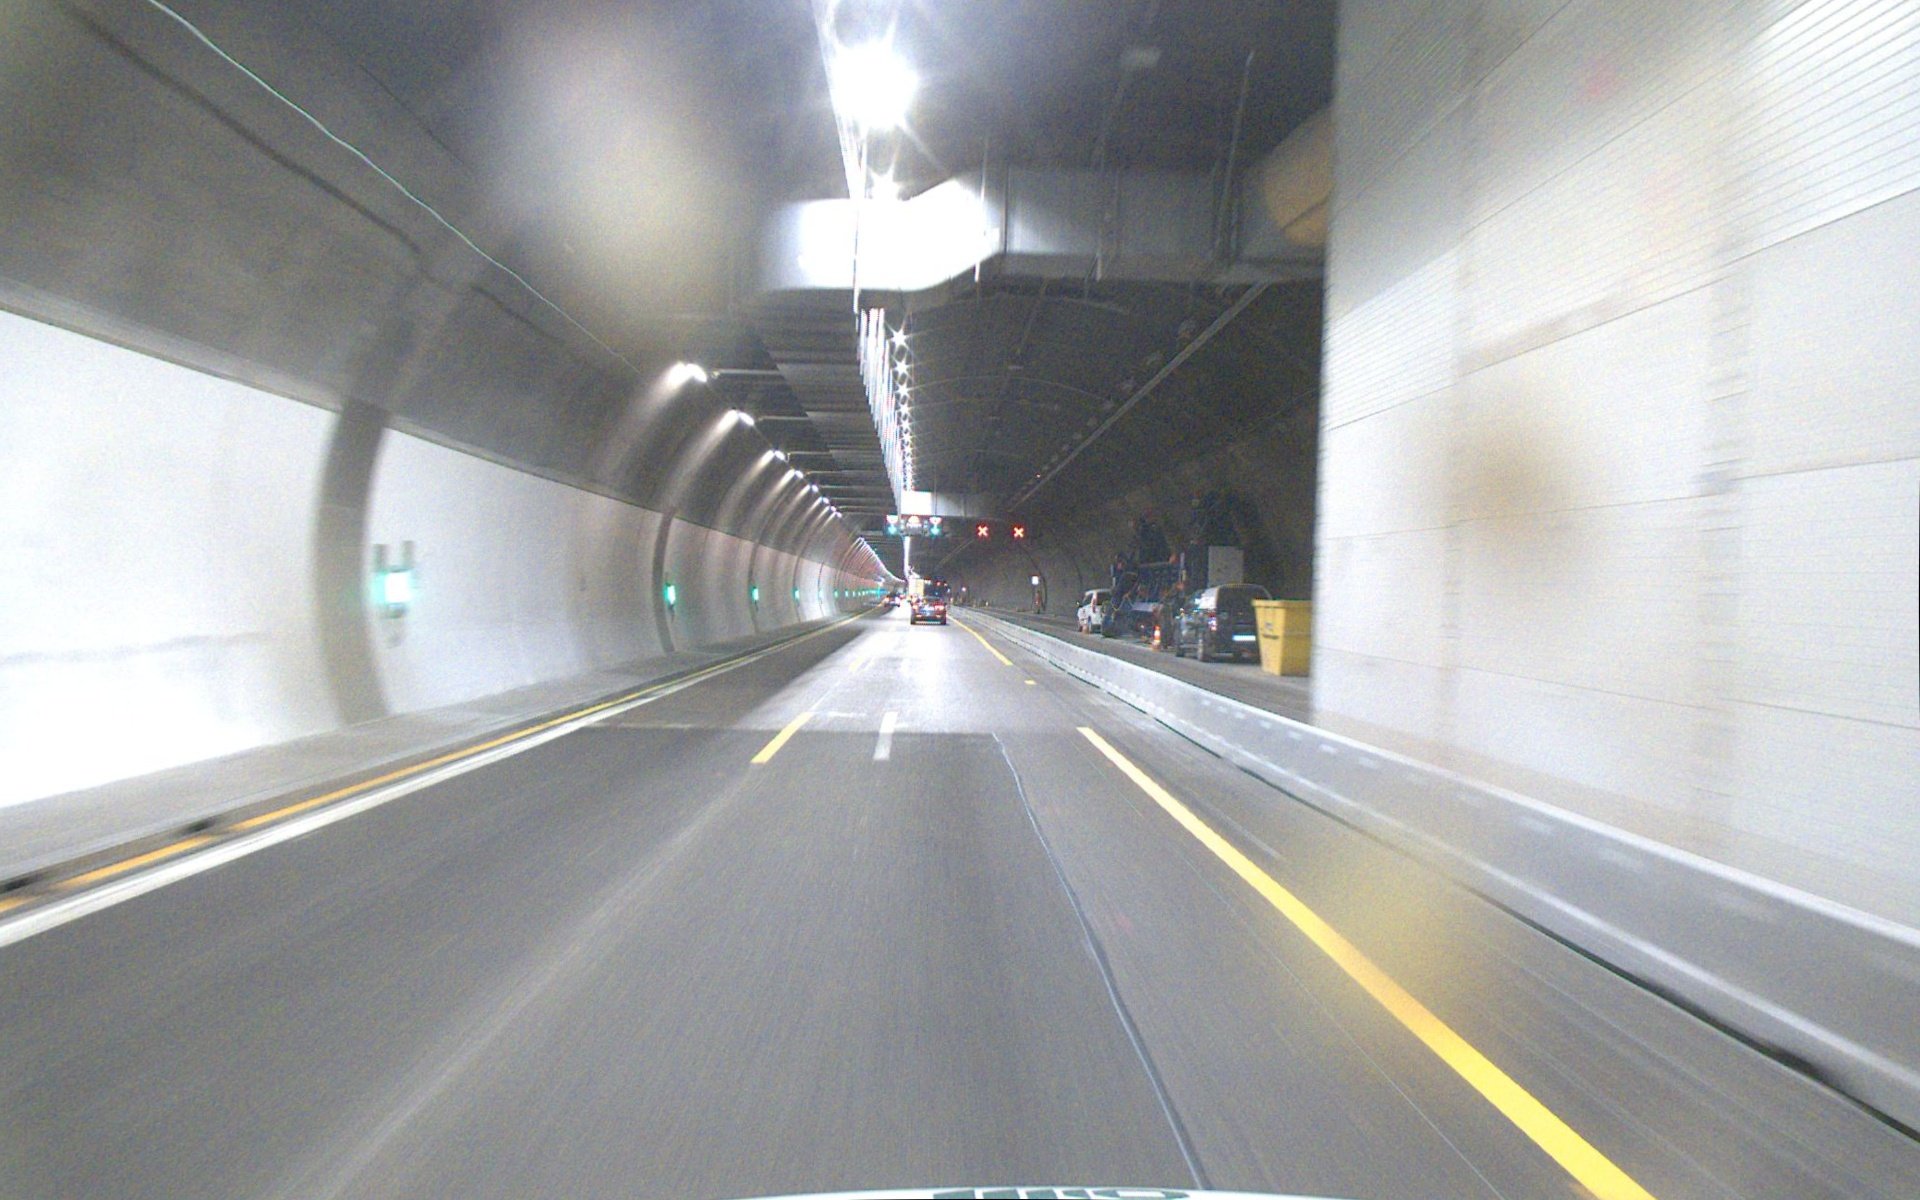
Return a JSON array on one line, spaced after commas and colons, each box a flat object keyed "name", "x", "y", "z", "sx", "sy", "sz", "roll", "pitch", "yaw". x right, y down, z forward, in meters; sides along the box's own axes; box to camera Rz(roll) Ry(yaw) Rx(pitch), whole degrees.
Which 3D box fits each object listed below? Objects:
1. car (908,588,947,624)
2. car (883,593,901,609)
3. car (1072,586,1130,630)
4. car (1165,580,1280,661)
[{"name": "car", "x": -1.697, "y": 0.295, "z": 85.816, "sx": 1.908, "sy": 1.826, "sz": 3.998, "roll": 1, "pitch": 0, "yaw": -3}, {"name": "car", "x": -7.510, "y": 0.056, "z": 183.808, "sx": 1.891, "sy": 1.716, "sz": 3.999, "roll": 1, "pitch": 0, "yaw": -2}, {"name": "car", "x": 6.104, "y": 0.323, "z": 72.061, "sx": 1.717, "sy": 1.877, "sz": 4.640, "roll": 0, "pitch": 0, "yaw": -6}, {"name": "car", "x": 6.590, "y": 0.472, "z": 42.057, "sx": 1.791, "sy": 1.891, "sz": 5.439, "roll": 2, "pitch": 0, "yaw": -3}]
